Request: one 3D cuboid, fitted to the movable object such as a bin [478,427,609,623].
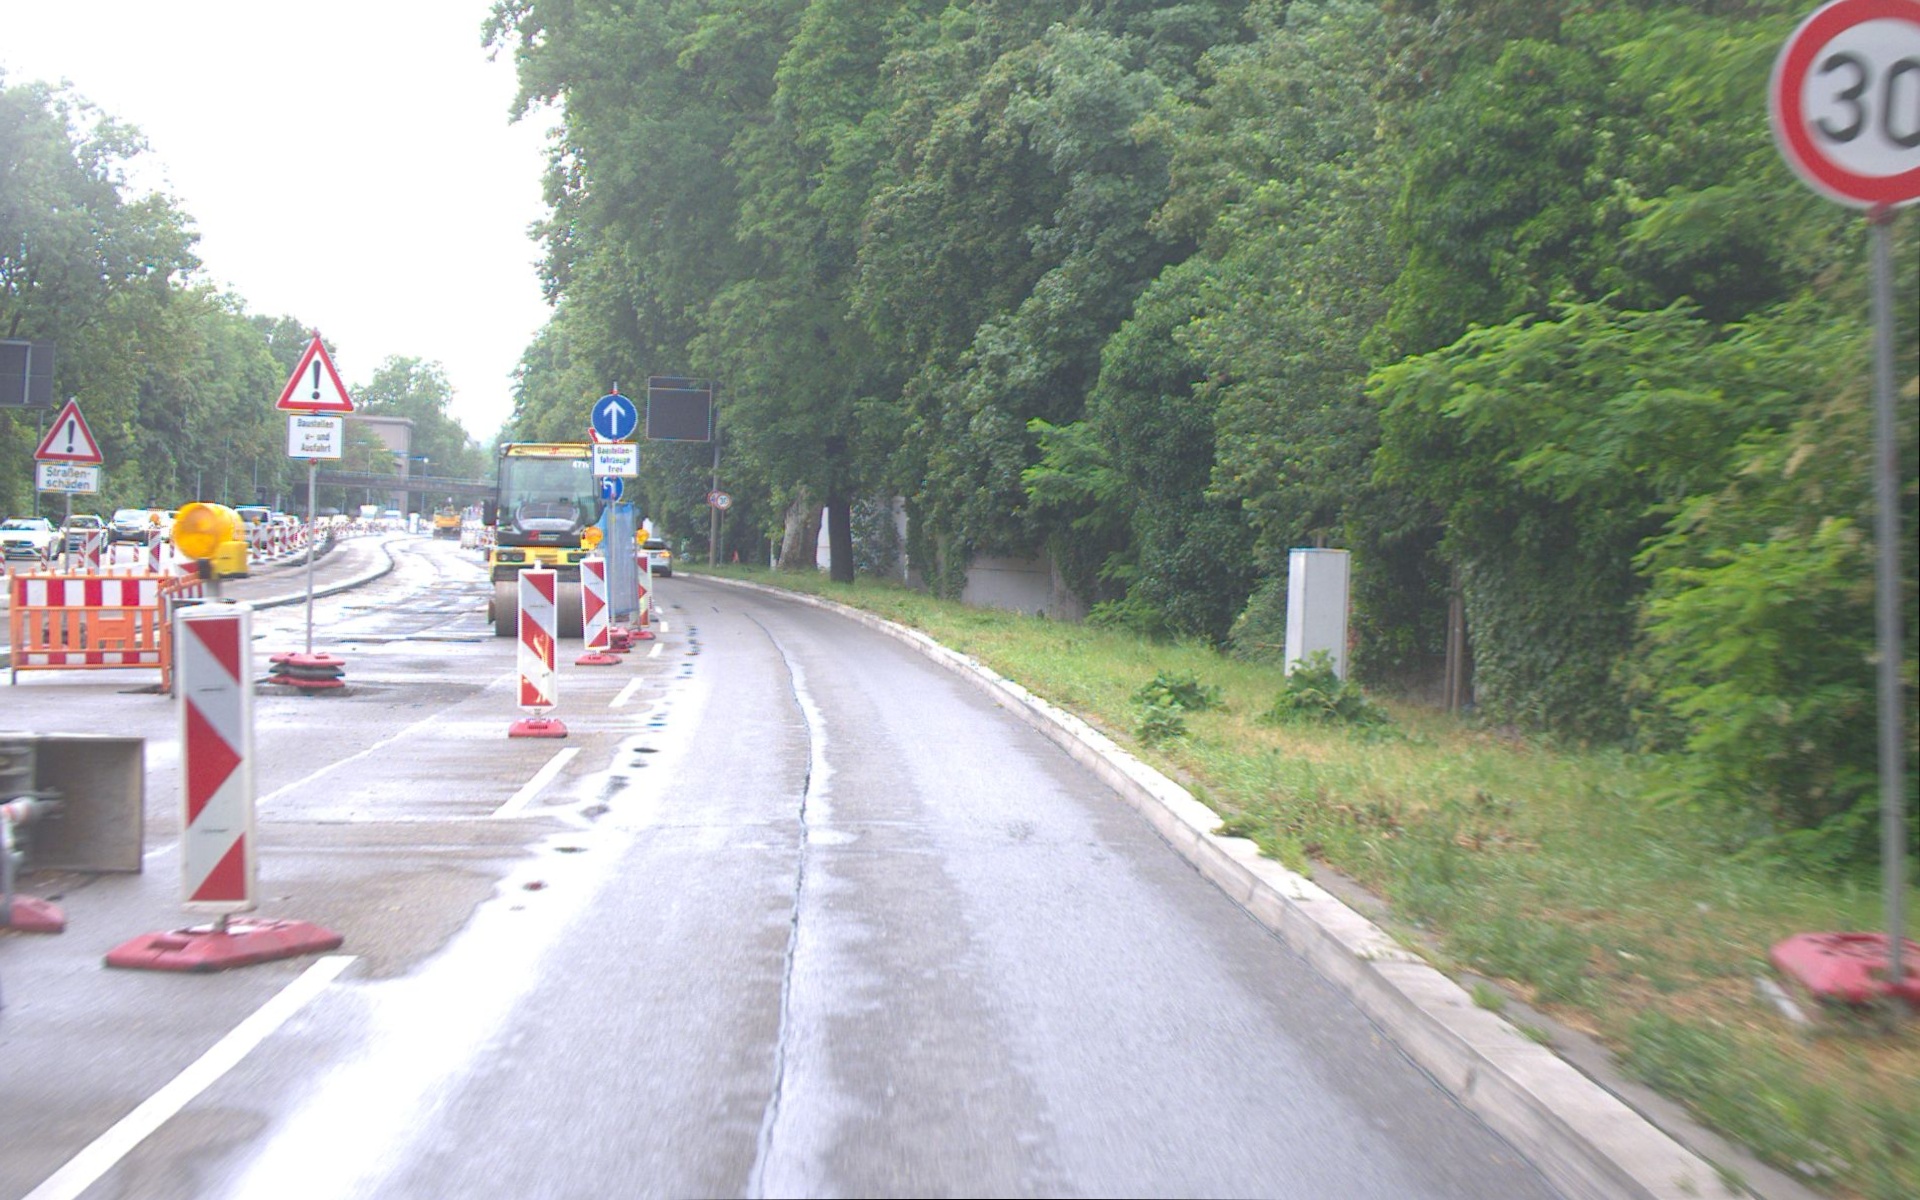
[{"bbox_3d":[-6.341,-1.144,52.644,1.746,2.857,3.535,1,1,-4],"label":"movable object such as a bin"}]

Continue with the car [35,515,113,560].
[{"bbox_3d":[-34.146,-2.418,132.626,1.927,1.659,4.653,1,1,-2],"label":"car"}]

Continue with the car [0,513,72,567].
[{"bbox_3d":[-29.977,-1.945,110.224,1.927,1.659,4.653,1,1,-2],"label":"car"}]

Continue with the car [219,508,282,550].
[{"bbox_3d":[-31.350,-3.132,152.041,1.927,1.772,4.653,1,1,-2],"label":"car"}]

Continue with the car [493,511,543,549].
[{"bbox_3d":[-20.964,-3.319,163.146,1.875,1.612,4.001,4,2,-2],"label":"car"}]

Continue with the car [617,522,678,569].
[{"bbox_3d":[-11.512,-2.018,126.736,1.914,1.592,4.834,2,2,-2],"label":"car"}]

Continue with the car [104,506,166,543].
[{"bbox_3d":[-38.543,-3.511,160.693,1.927,1.659,4.653,1,1,-2],"label":"car"}]
